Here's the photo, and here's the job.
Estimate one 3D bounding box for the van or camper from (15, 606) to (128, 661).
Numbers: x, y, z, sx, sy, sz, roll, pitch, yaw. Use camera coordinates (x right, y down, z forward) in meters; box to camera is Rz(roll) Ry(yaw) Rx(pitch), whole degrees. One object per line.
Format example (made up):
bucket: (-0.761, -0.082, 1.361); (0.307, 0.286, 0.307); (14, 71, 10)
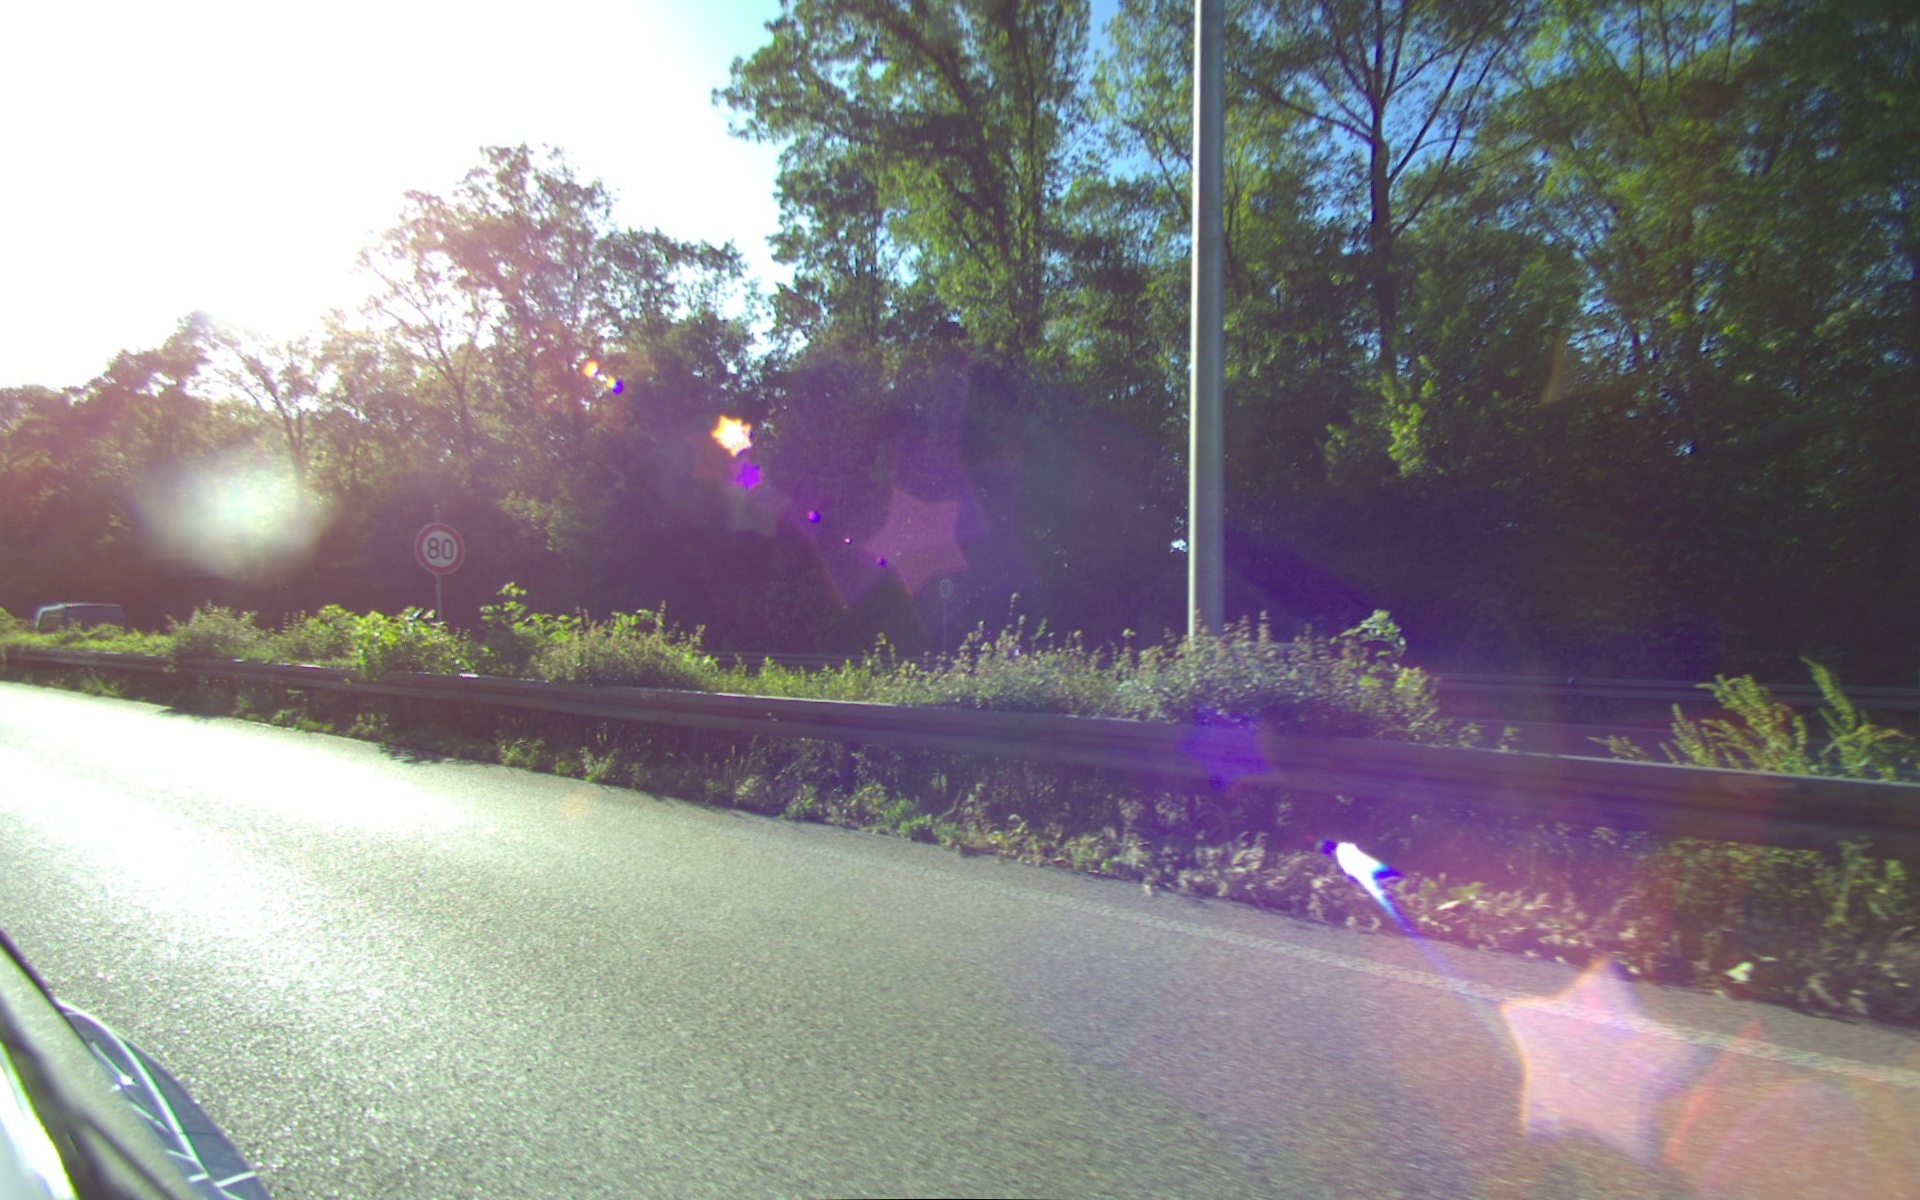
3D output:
van or camper: (-35.407, 1.340, 40.274); (5.567, 2.029, 2.125); (-1, -3, 35)

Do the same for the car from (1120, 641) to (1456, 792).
car: (4.735, 1.554, 14.904); (4.291, 1.798, 1.974); (-1, -1, 40)
